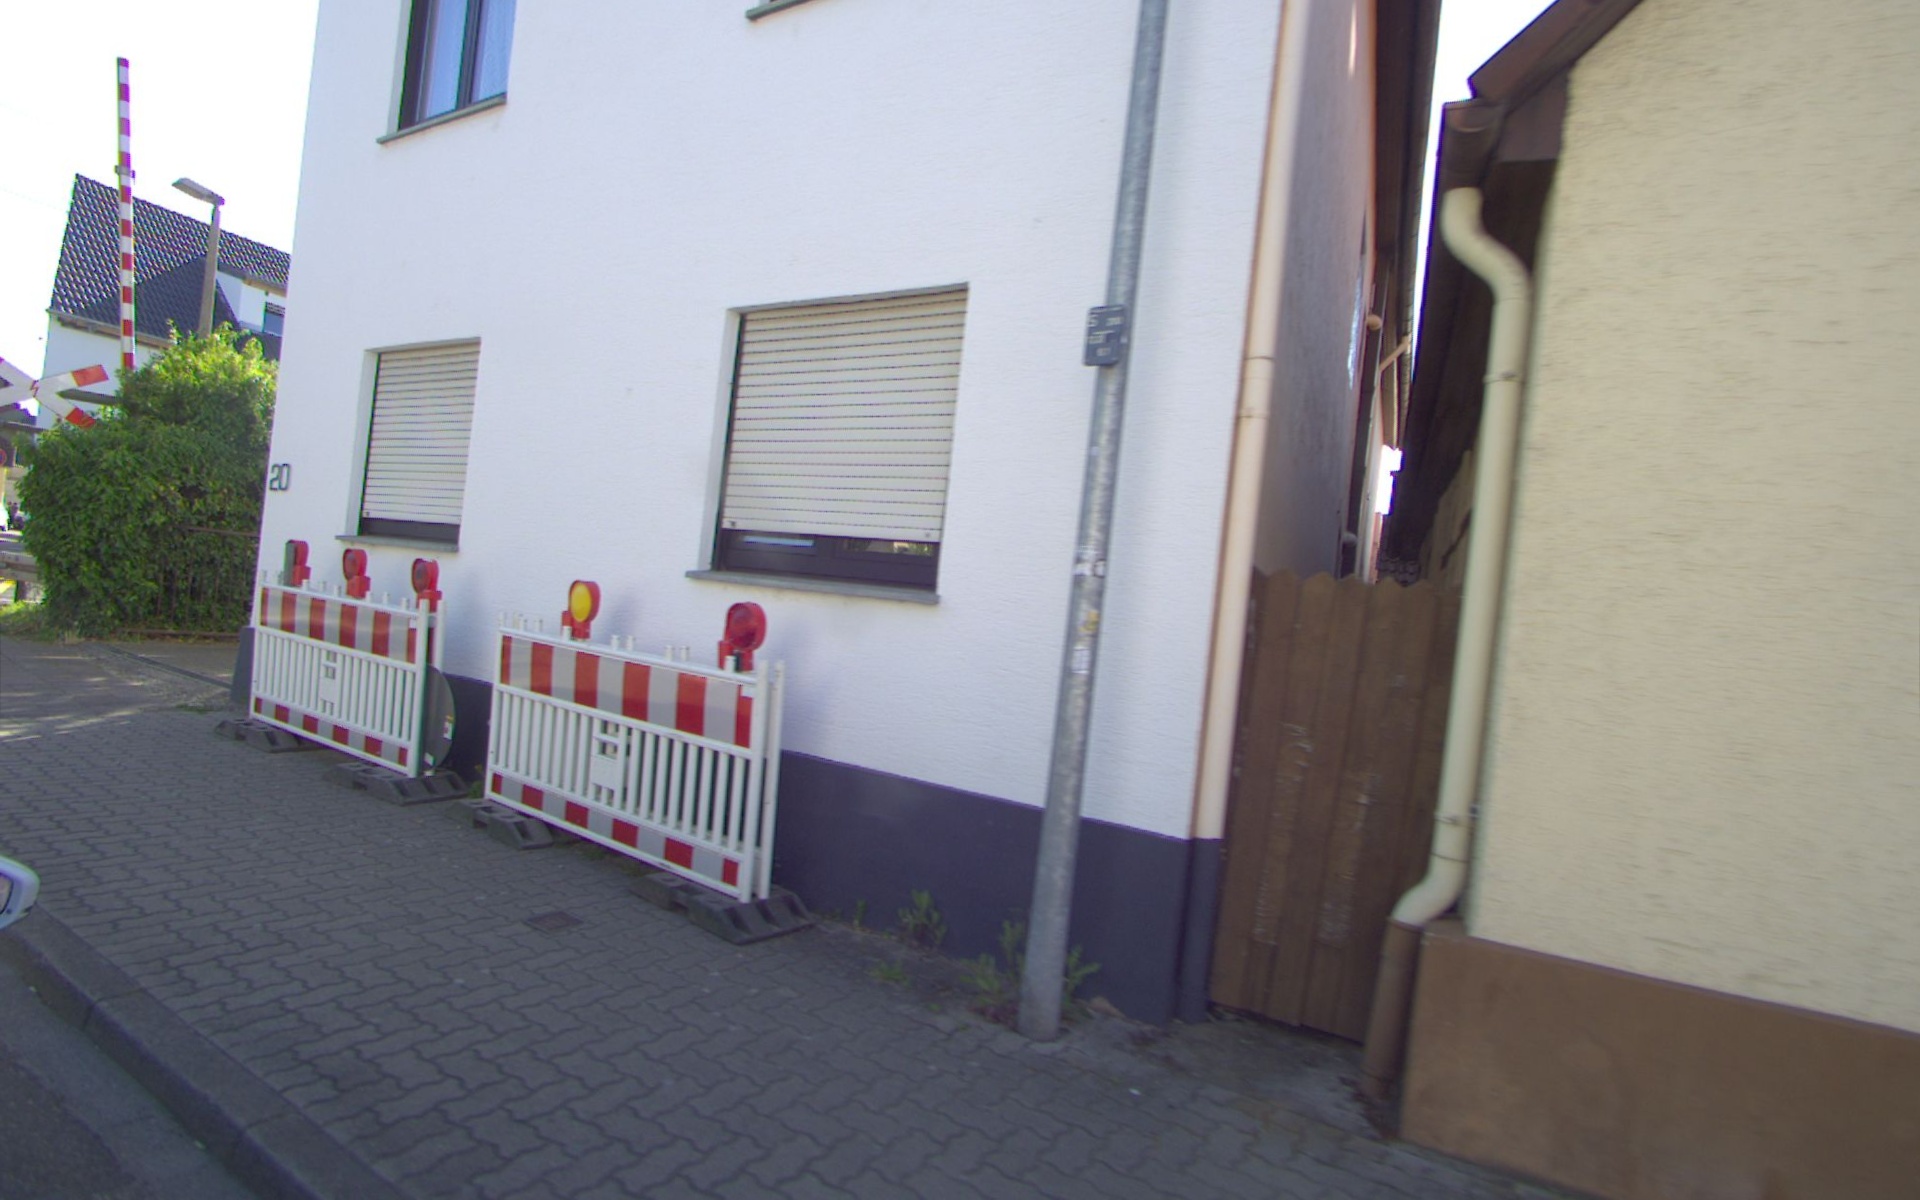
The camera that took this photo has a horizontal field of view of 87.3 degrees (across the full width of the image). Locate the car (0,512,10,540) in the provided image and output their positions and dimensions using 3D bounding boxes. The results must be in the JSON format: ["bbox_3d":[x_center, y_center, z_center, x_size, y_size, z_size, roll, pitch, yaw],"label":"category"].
[{"bbox_3d":[-55.090,-4.290,56.531,1.662,1.591,3.932,6,-1,-33],"label":"car"}]

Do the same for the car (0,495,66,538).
[{"bbox_3d":[-61.987,-5.539,67.364,2.061,2.424,5.167,6,-1,-31],"label":"car"}]
